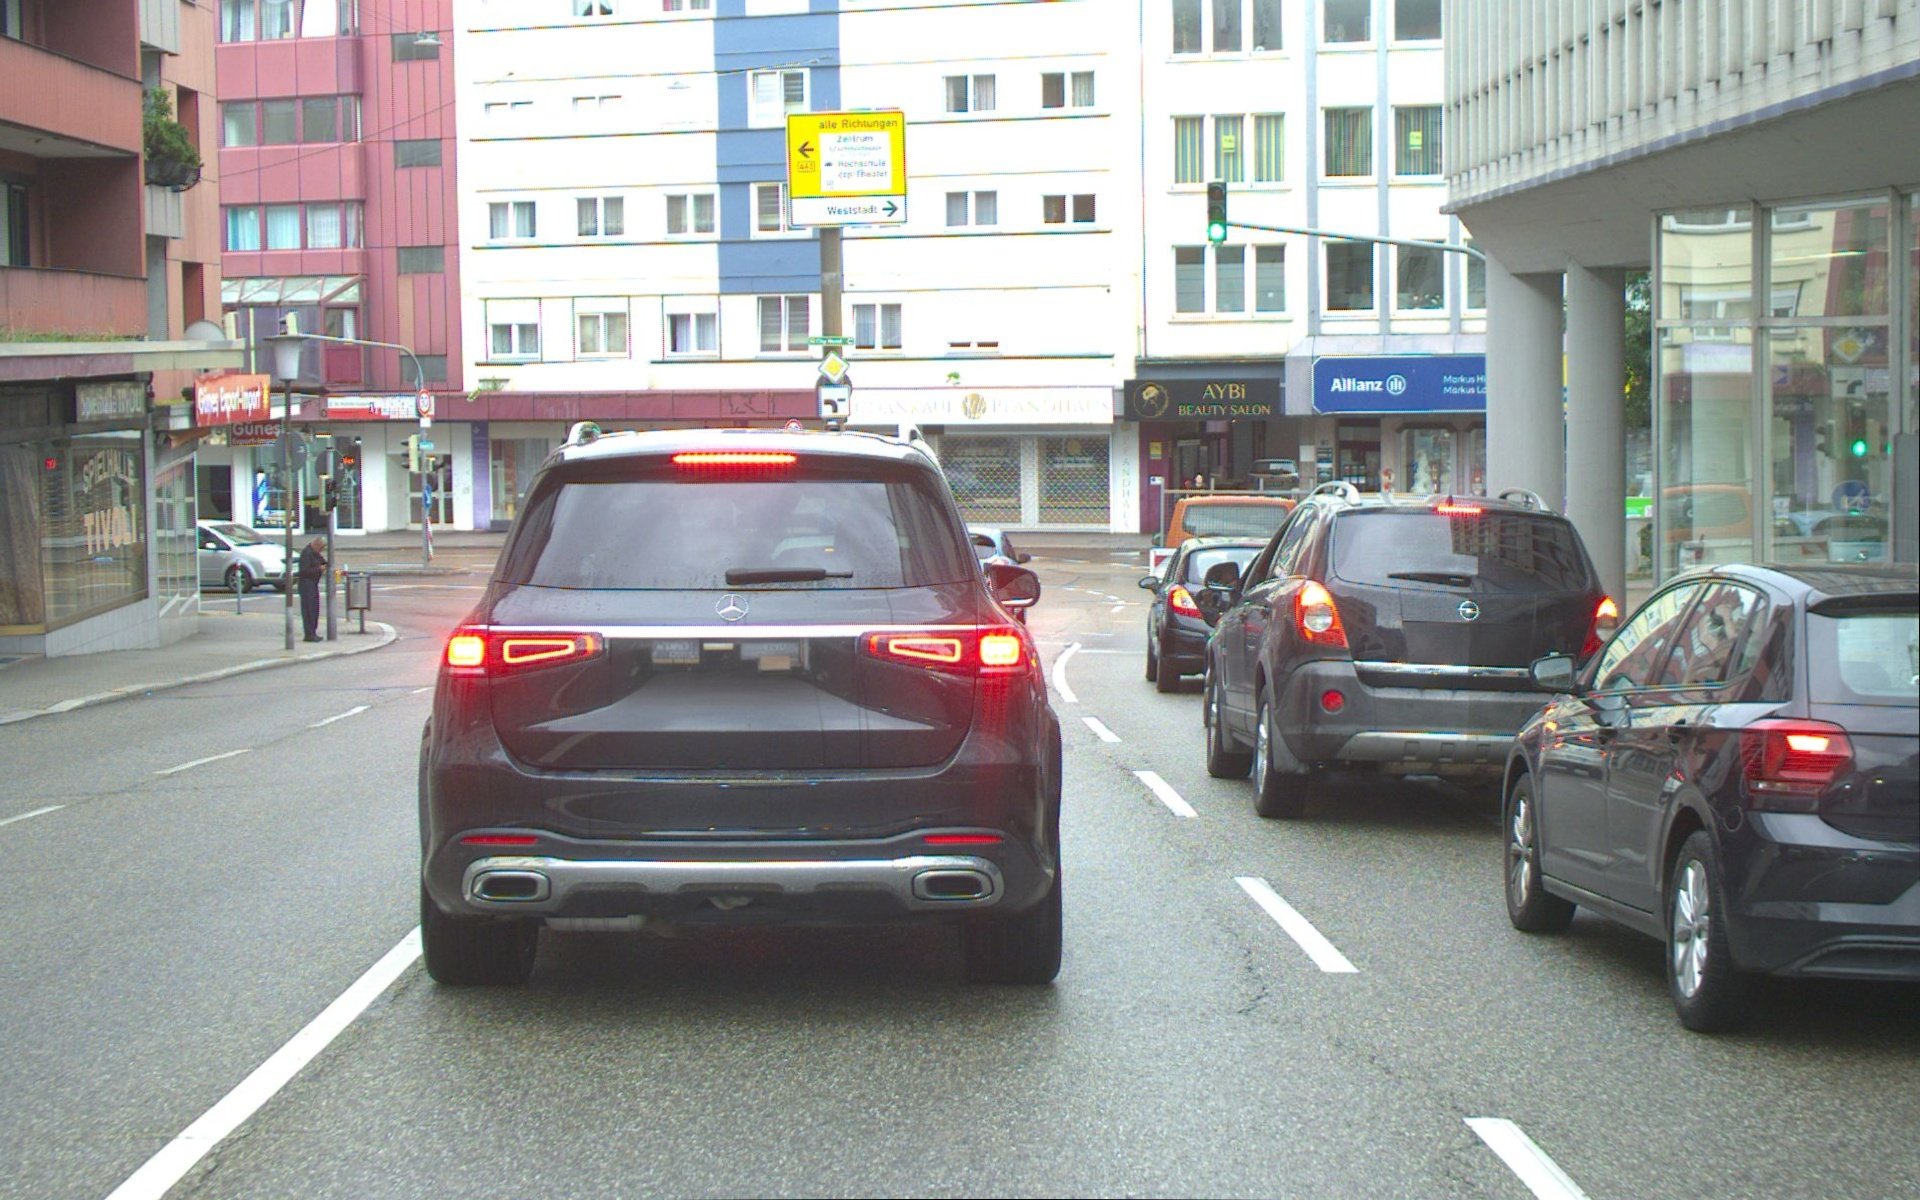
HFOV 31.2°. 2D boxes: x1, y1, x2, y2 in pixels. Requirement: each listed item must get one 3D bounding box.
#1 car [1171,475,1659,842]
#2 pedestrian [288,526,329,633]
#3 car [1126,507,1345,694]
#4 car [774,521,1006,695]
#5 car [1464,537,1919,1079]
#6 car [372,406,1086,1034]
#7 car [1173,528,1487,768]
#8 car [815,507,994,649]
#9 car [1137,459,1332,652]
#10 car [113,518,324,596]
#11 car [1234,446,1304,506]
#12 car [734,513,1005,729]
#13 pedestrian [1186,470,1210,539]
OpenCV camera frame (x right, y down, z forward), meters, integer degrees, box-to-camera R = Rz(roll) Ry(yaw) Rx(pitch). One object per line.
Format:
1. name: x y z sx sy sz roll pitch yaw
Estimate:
1. car: 2.337 0.229 18.853 1.897 1.689 4.506 3 1 -1
2. pedestrian: -10.409 -0.334 54.915 0.554 1.691 0.624 0 1 -4
3. car: 2.599 -0.018 33.307 1.823 1.653 4.495 1 1 1
4. car: -0.623 0.019 32.132 1.993 1.481 4.237 -1 1 0
5. car: 2.946 0.572 11.644 1.688 1.472 4.001 3 1 -2
6. car: -0.746 0.293 12.253 2.038 1.792 4.663 1 1 -2
7. car: 2.530 0.268 24.375 1.767 1.392 4.000 5 2 1
8. car: -0.630 -0.238 40.166 1.924 1.510 4.663 2 0 0
9. car: 3.381 -0.570 43.015 2.243 2.220 5.428 1 1 4
10. car: -16.255 -0.963 75.389 4.165 1.587 1.740 1 2 15
11. car: 9.012 -3.596 100.086 1.797 1.664 3.999 -1 1 8
12. car: -0.709 0.096 26.263 1.873 1.489 4.401 1 1 -2
13. pedestrian: 6.046 -2.433 87.234 0.564 1.683 0.756 -1 7 6
